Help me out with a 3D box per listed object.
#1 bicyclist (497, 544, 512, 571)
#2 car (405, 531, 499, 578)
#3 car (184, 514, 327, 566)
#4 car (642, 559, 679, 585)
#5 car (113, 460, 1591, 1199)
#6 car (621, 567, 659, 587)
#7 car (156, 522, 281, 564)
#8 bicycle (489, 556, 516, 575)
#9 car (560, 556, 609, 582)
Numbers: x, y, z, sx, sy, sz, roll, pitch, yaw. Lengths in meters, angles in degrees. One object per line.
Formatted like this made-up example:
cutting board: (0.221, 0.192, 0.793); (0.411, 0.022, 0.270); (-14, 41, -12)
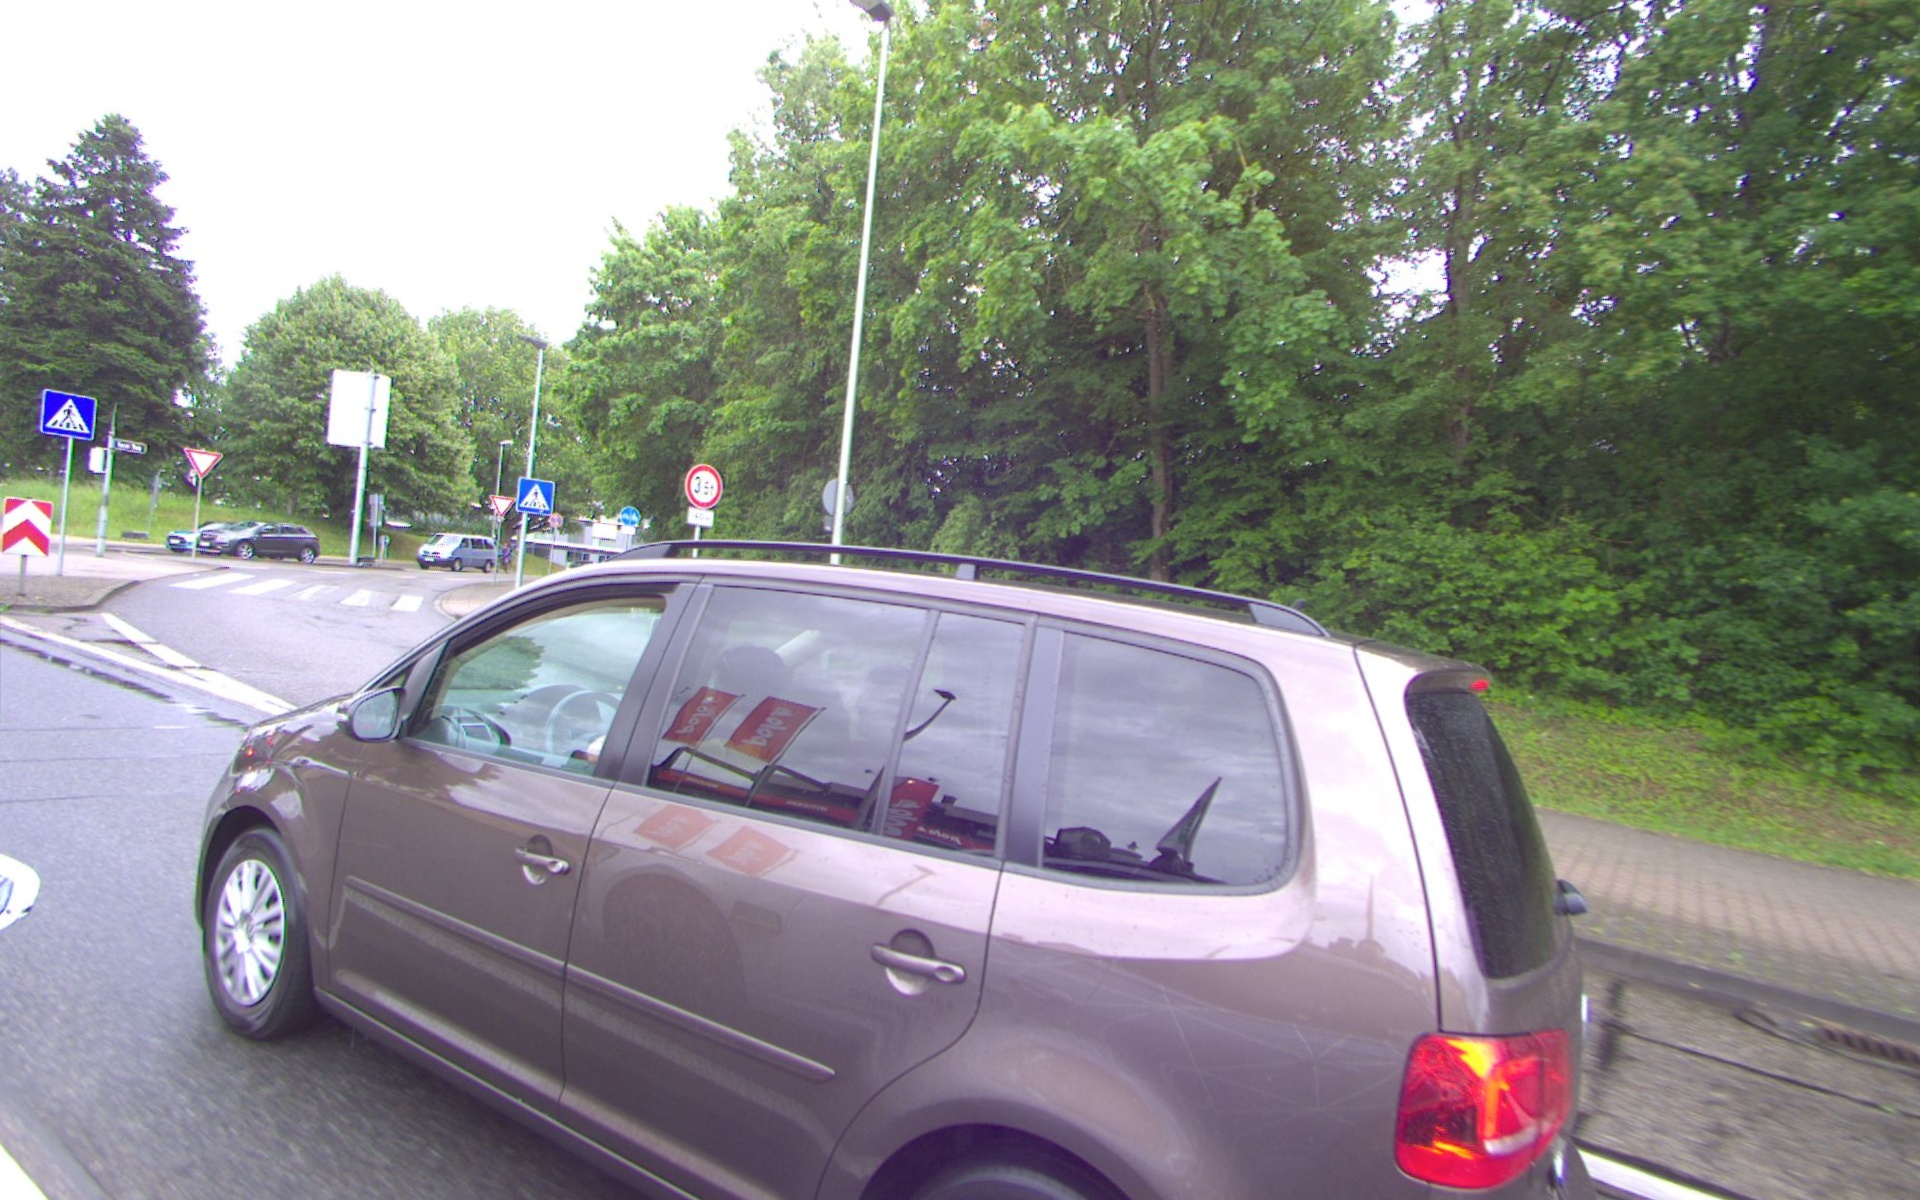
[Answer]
bicyclist: (-26.818, -2.488, 59.215); (0.446, 1.507, 0.562); (7, 1, 4)
car: (-25.699, -2.261, 51.105); (1.865, 1.874, 4.743); (8, 0, 5)
car: (-27.859, -2.345, 39.982); (1.865, 1.485, 4.331); (7, 0, 17)
car: (-23.320, -2.153, 78.449); (1.788, 1.729, 3.942); (8, 0, -4)
car: (-0.600, 0.642, 3.081); (4.061, 1.616, 1.717); (8, 0, 31)
car: (-26.453, -1.858, 83.324); (1.923, 1.337, 3.997); (7, 0, -4)
car: (-30.628, -2.332, 41.697); (1.578, 1.310, 3.999); (7, 1, 14)
bicycle: (-26.860, -2.006, 59.126); (0.568, 0.965, 1.750); (7, 0, 4)
car: (-25.815, -2.143, 69.346); (1.805, 1.465, 3.999); (6, 0, -1)
